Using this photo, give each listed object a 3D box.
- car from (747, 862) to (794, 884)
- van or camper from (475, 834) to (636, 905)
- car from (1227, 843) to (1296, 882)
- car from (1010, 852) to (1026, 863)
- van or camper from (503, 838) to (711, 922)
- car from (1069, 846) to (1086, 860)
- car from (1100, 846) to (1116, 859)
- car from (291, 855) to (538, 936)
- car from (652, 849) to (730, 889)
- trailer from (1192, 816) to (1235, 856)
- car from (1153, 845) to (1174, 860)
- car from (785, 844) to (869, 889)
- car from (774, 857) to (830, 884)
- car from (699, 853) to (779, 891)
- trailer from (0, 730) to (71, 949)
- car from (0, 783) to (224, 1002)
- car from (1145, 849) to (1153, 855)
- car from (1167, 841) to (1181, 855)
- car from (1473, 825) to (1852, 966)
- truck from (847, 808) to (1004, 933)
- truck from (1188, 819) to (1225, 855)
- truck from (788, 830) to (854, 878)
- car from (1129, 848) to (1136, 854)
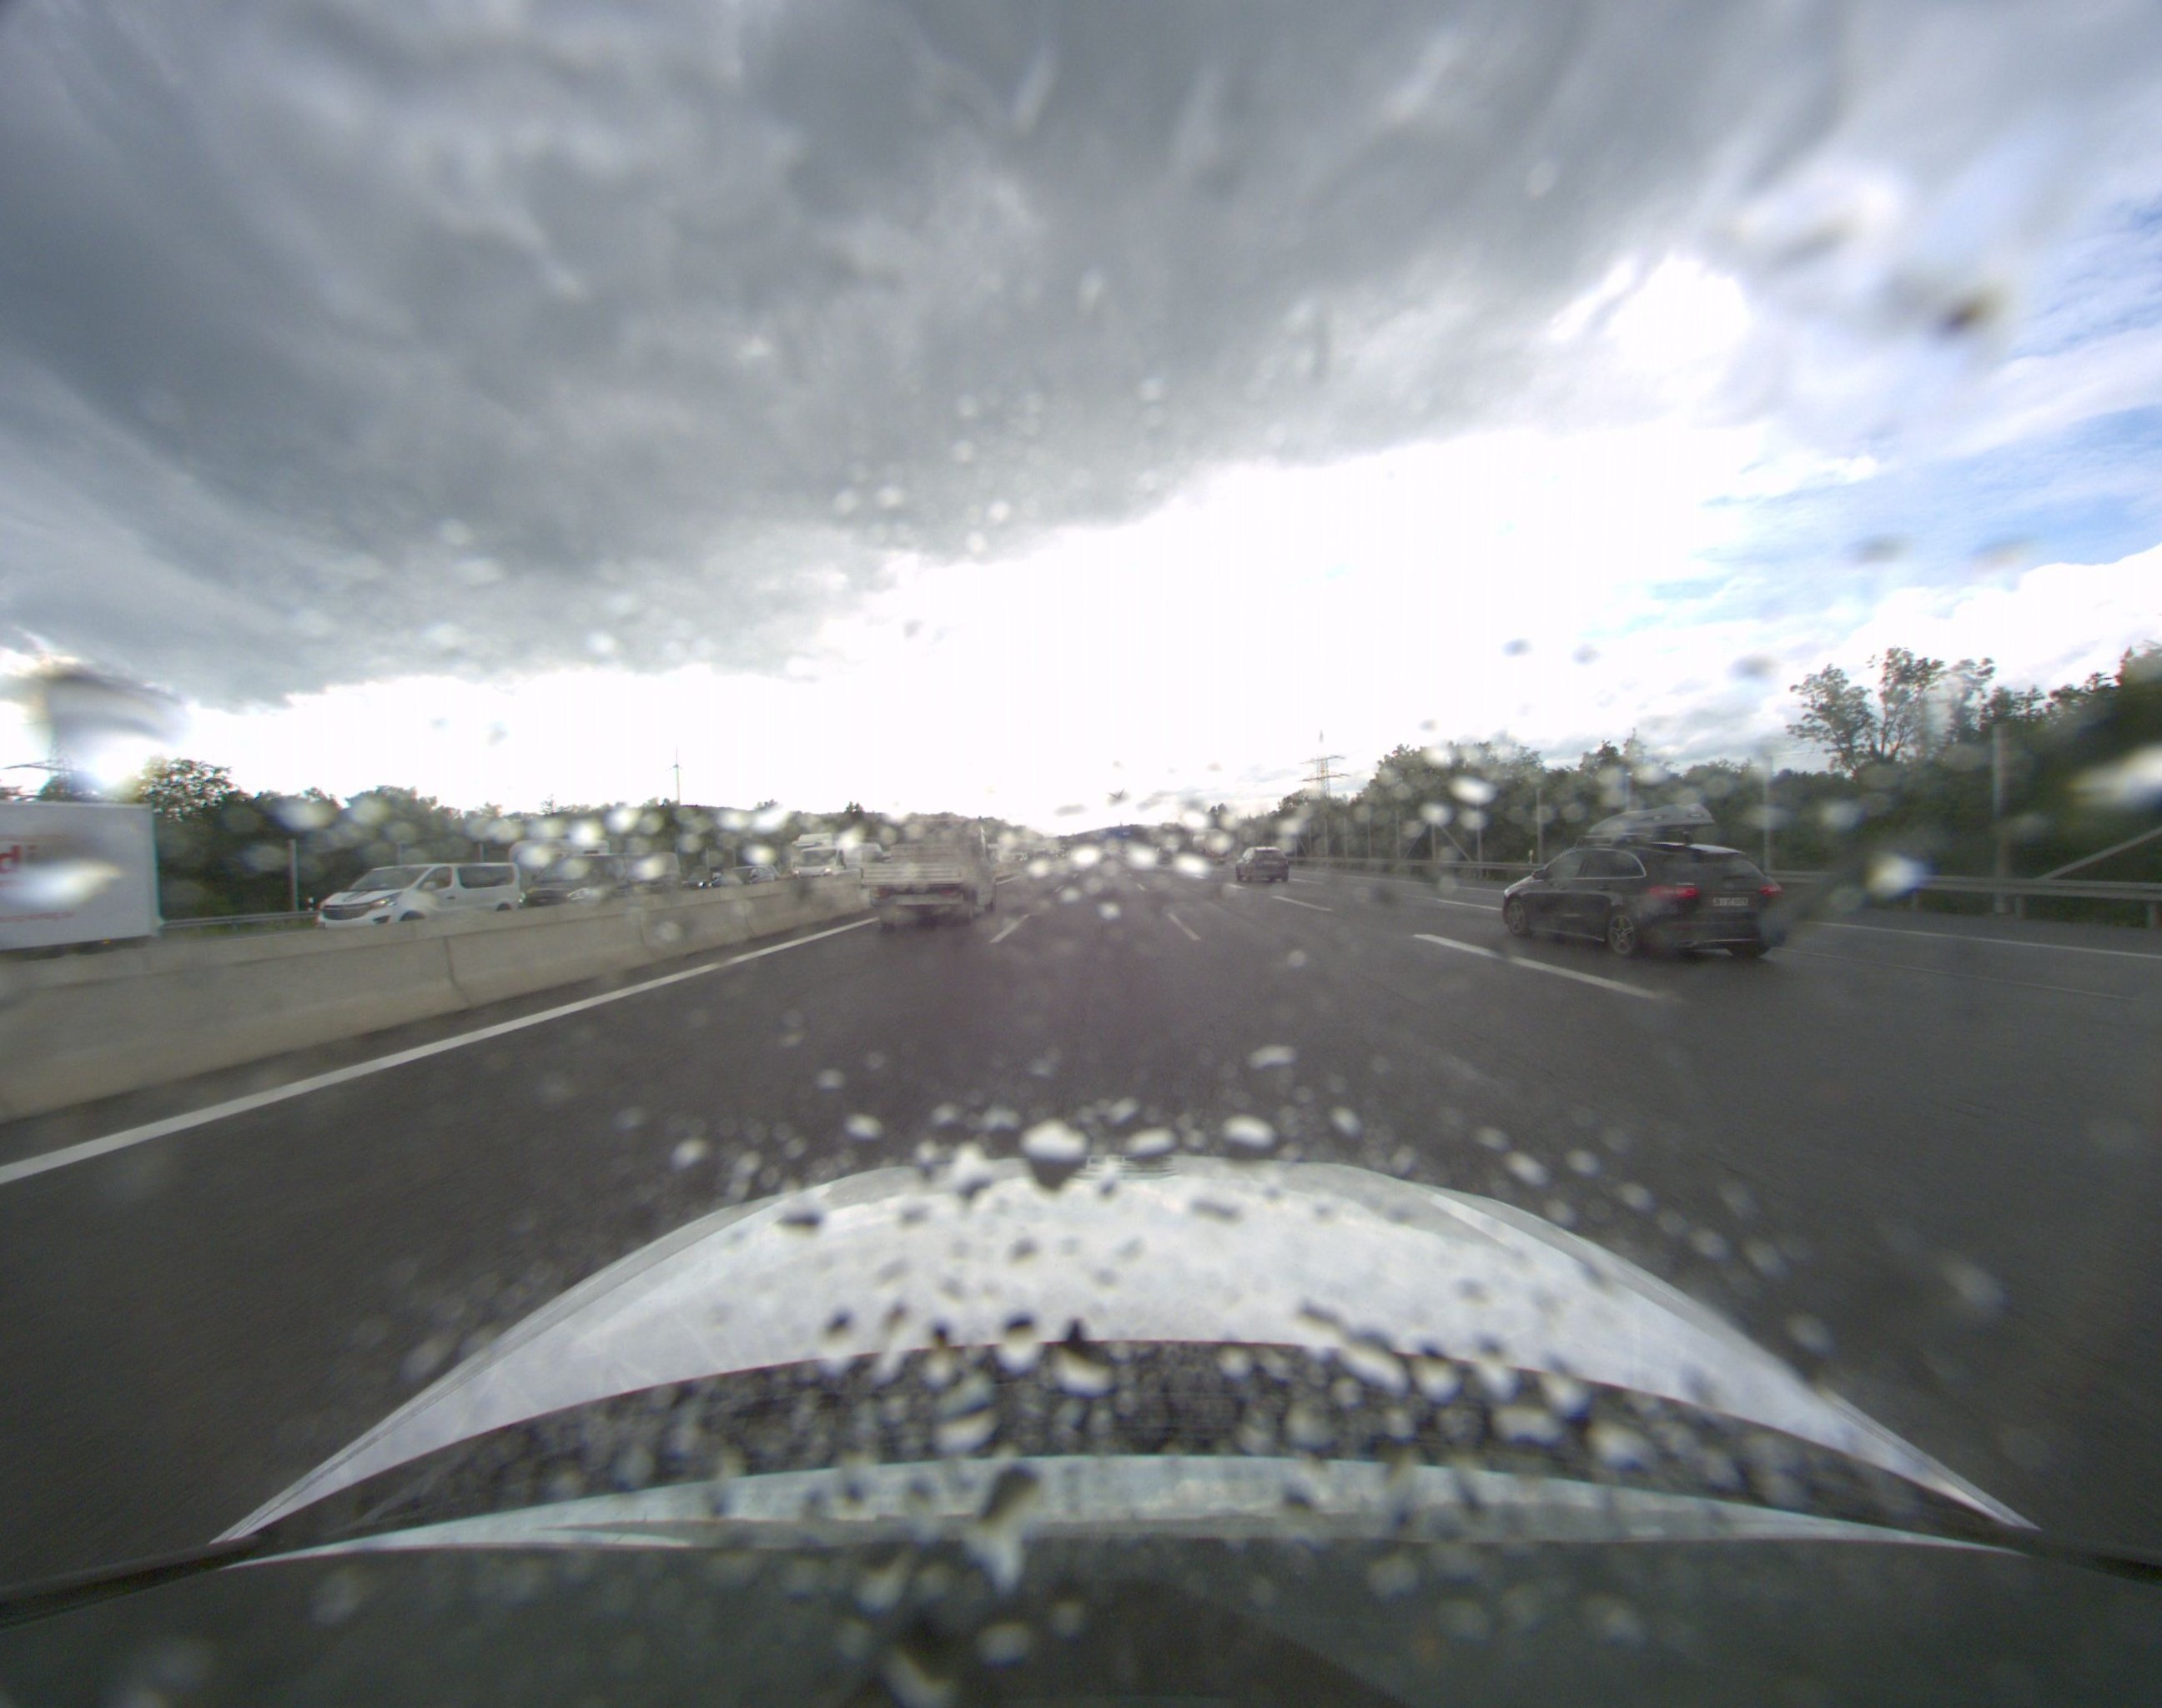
[{"bbox_3d":[-24.170,1.445,63.579,1.986,1.530,4.002,-1,0,2],"label":"car"},{"bbox_3d":[-17.738,0.449,27.859,2.087,2.186,4.973,-1,1,2],"label":"van or camper"},{"bbox_3d":[8.463,0.373,38.646,2.039,1.699,5.004,-2,0,-1],"label":"car"},{"bbox_3d":[-9.693,0.498,124.661,1.887,1.623,4.847,-1,1,2],"label":"car"},{"bbox_3d":[-13.074,0.615,23.169,1.986,2.013,6.349,-2,0,2],"label":"van or camper"},{"bbox_3d":[-0.396,-0.147,102.207,2.037,1.699,4.002,-1,1,2],"label":"car"},{"bbox_3d":[3.787,-0.207,113.869,2.037,1.699,4.003,-1,1,2],"label":"car"},{"bbox_3d":[-17.639,0.992,22.070,1.851,1.824,5.667,-1,1,2],"label":"car"},{"bbox_3d":[-20.685,0.743,43.432,2.087,1.969,4.002,-2,0,2],"label":"car"},{"bbox_3d":[14.850,-1.951,92.297,3.320,4.175,11.844,-1,1,2],"label":"trailer"},{"bbox_3d":[10.315,-0.194,102.122,2.092,1.699,3.998,-1,1,-2],"label":"car"},{"bbox_3d":[-12.114,0.512,39.357,2.087,1.969,5.634,-1,1,2],"label":"car"},{"bbox_3d":[-17.186,0.995,50.335,1.793,1.503,4.354,-1,0,2],"label":"car"},{"bbox_3d":[-16.550,0.821,39.650,1.856,1.660,4.428,-2,0,2],"label":"car"},{"bbox_3d":[-25.669,-0.221,12.676,3.136,4.856,13.296,-1,1,0],"label":"trailer"},{"bbox_3d":[-17.636,0.614,11.622,2.488,3.300,7.630,-1,1,2],"label":"car"},{"bbox_3d":[19.944,-0.543,238.653,1.986,1.750,4.499,-1,0,2],"label":"car"},{"bbox_3d":[16.773,-1.145,147.337,2.037,2.497,4.002,-1,1,2],"label":"car"},{"bbox_3d":[8.054,0.445,12.110,2.097,1.605,5.067,-1,1,1],"label":"car"},{"bbox_3d":[-3.372,0.266,19.554,2.345,2.408,7.357,-1,1,0],"label":"truck"},{"bbox_3d":[15.031,-2.016,98.213,3.320,4.079,8.276,-1,1,2],"label":"truck"},{"bbox_3d":[-20.070,-0.030,63.284,2.718,3.513,6.803,-1,1,2],"label":"truck"},{"bbox_3d":[14.556,-0.821,230.559,2.037,1.699,4.003,-1,1,3],"label":"car"}]
